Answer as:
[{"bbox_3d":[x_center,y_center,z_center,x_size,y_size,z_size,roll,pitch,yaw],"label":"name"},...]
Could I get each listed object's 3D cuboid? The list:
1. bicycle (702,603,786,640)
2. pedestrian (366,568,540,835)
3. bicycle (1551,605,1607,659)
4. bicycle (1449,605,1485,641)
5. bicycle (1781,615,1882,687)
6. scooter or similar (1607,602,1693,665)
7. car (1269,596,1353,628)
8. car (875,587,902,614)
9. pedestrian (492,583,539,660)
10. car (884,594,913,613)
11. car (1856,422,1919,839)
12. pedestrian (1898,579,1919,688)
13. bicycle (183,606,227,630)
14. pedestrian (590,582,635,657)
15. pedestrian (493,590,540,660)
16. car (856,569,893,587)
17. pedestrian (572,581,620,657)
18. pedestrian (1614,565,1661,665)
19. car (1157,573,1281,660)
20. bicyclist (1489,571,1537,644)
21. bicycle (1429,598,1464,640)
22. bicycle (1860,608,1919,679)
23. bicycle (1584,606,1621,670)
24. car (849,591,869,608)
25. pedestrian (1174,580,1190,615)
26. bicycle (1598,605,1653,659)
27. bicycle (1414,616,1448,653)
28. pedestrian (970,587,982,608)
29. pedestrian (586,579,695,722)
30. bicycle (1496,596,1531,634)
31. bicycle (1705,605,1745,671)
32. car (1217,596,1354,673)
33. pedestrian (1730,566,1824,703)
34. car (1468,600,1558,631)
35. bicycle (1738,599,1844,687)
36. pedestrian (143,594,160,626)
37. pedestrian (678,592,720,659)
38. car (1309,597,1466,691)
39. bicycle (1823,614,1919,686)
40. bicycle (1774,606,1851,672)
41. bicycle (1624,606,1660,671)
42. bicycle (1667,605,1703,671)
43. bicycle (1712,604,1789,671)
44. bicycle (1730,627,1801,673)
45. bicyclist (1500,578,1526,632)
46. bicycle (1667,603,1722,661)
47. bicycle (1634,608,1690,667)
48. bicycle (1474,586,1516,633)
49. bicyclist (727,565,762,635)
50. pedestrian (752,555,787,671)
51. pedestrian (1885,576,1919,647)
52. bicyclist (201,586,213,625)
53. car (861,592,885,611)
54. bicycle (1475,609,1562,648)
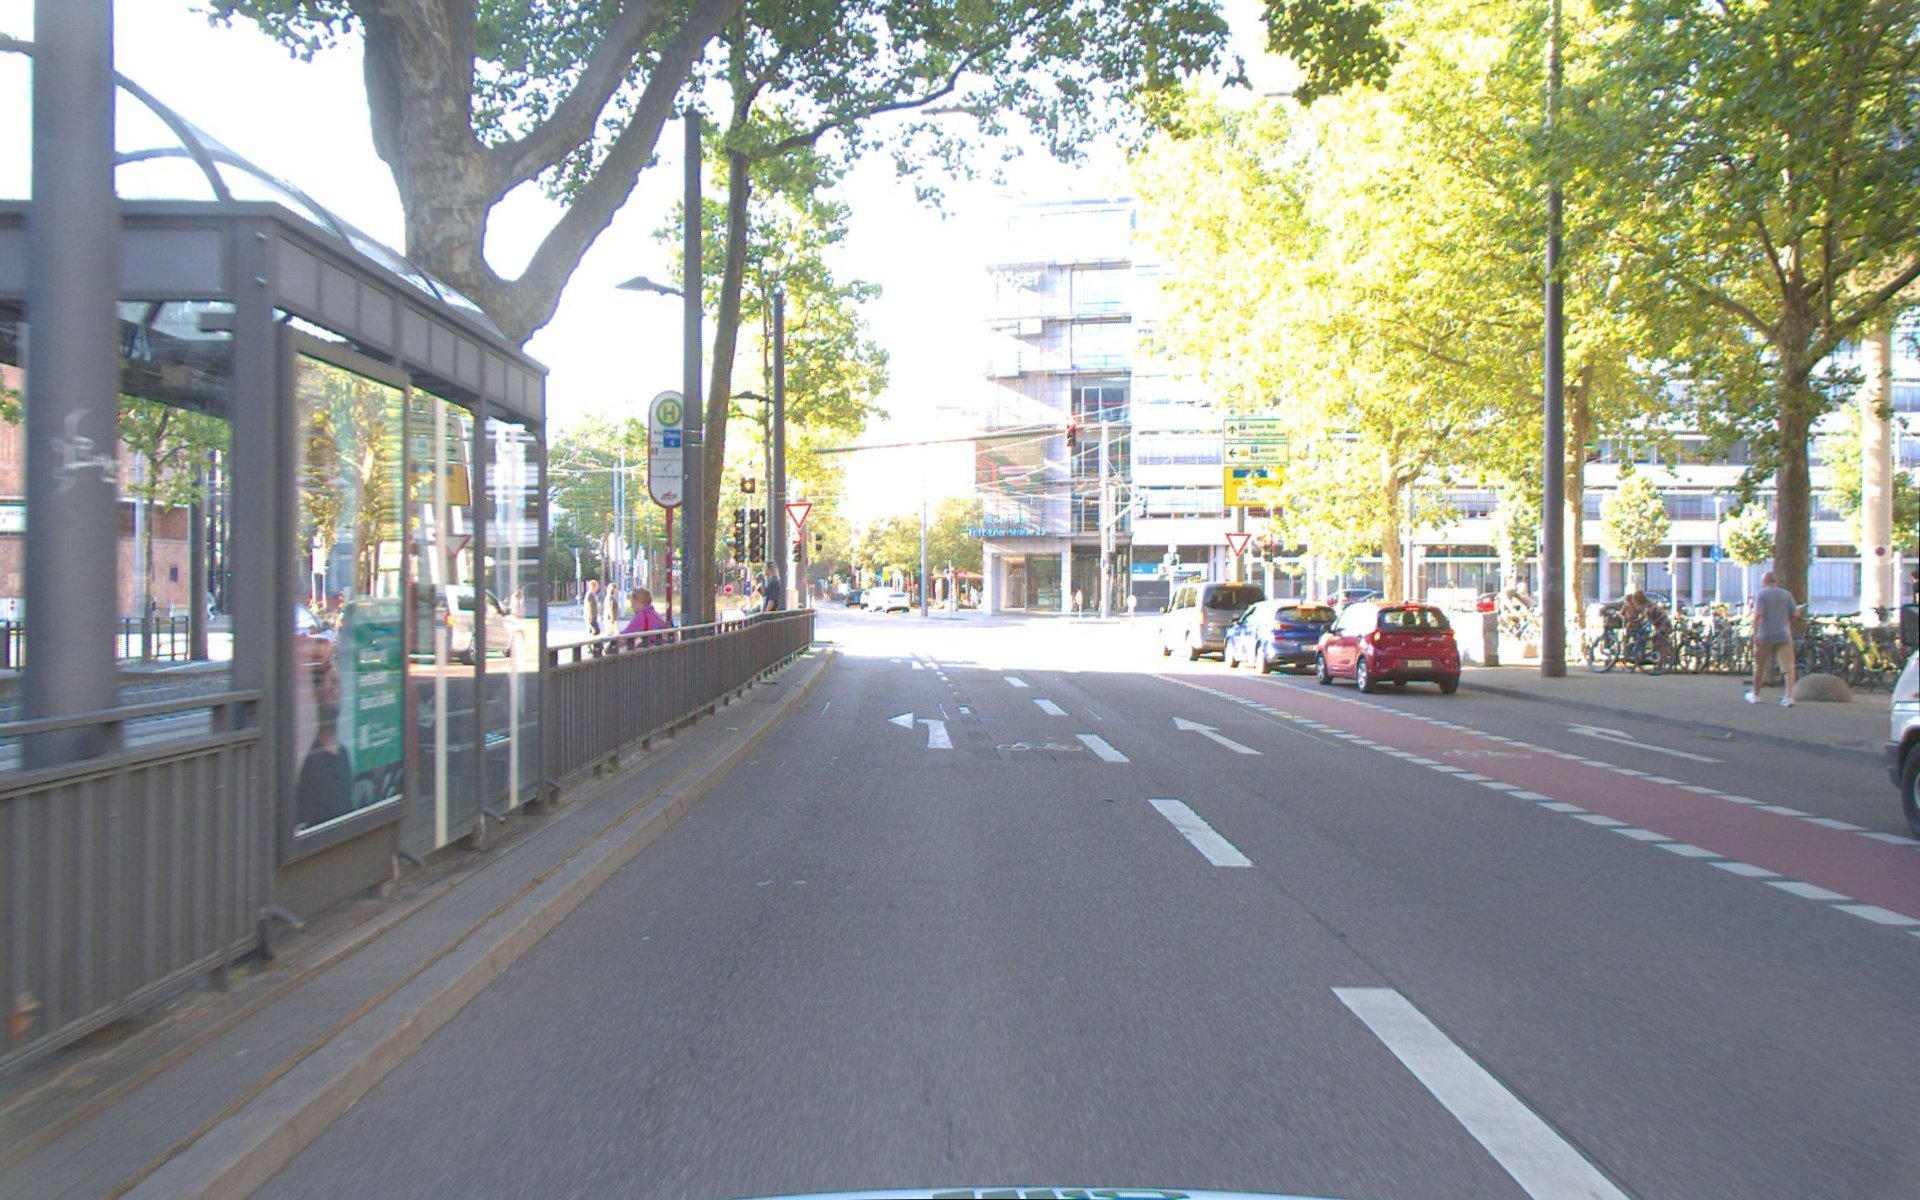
[{"bbox_3d":[-5.629,0.558,43.139,2.134,0.950,0.667,0,0,-4],"label":"bicycle"},{"bbox_3d":[-2.788,0.544,9.155,0.719,1.412,0.640,1,-1,1],"label":"pedestrian"},{"bbox_3d":[12.827,0.652,34.334,0.614,1.075,1.572,0,0,2],"label":"bicycle"},{"bbox_3d":[14.456,0.652,47.183,0.441,1.000,1.475,0,0,-5],"label":"bicycle"},{"bbox_3d":[13.386,0.761,25.441,0.584,1.050,1.653,0,0,-4],"label":"bicycle"},{"bbox_3d":[13.364,0.655,32.059,1.233,1.162,0.912,3,-3,-18],"label":"scooter or similar"},{"bbox_3d":[18.642,0.631,87.989,4.152,1.630,1.796,0,0,2],"label":"car"},{"bbox_3d":[-5.602,0.048,128.804,1.954,2.026,3.997,0,0,-4],"label":"car"},{"bbox_3d":[-11.237,0.541,41.847,1.054,1.904,0.737,1,-1,-11],"label":"pedestrian"},{"bbox_3d":[-4.541,0.230,121.967,1.954,1.355,3.997,0,0,-4],"label":"car"},{"bbox_3d":[7.218,0.224,8.507,1.952,2.772,6.564,1,0,3],"label":"car"},{"bbox_3d":[16.244,0.548,27.550,0.800,1.788,0.771,0,0,1],"label":"pedestrian"},{"bbox_3d":[-40.181,0.954,88.057,2.069,1.261,0.448,-1,0,-32],"label":"bicycle"},{"bbox_3d":[-8.731,0.492,41.556,1.052,1.837,0.756,1,-1,-11],"label":"pedestrian"},{"bbox_3d":[-11.026,0.621,41.123,1.053,1.711,0.756,1,-1,-11],"label":"pedestrian"},{"bbox_3d":[-9.280,-2.351,179.140,3.681,1.780,1.783,1,-1,10],"label":"car"},{"bbox_3d":[-9.314,0.484,42.364,1.125,1.927,0.831,1,-1,-11],"label":"pedestrian"},{"bbox_3d":[12.485,0.279,30.496,0.789,1.817,0.657,0,0,22],"label":"pedestrian"},{"bbox_3d":[6.410,0.381,41.482,1.954,2.000,5.133,1,0,-4],"label":"car"},{"bbox_3d":[13.872,0.189,41.499,0.743,1.798,0.843,-1,0,-32],"label":"bicyclist"},{"bbox_3d":[13.809,0.542,46.989,0.441,1.164,1.475,0,0,-5],"label":"bicycle"},{"bbox_3d":[14.665,0.665,25.583,0.492,1.050,1.653,0,0,-4],"label":"bicycle"},{"bbox_3d":[12.044,0.691,30.993,0.583,1.135,1.825,-1,0,23],"label":"bicycle"},{"bbox_3d":[-10.132,-0.034,165.463,1.954,1.691,3.997,0,0,-4],"label":"car"},{"bbox_3d":[11.106,-0.133,82.761,0.705,1.711,0.557,1,0,3],"label":"pedestrian"},{"bbox_3d":[13.832,0.652,34.409,0.412,1.100,1.475,0,0,-5],"label":"bicycle"},{"bbox_3d":[13.305,0.974,46.758,0.412,0.996,1.475,0,0,-5],"label":"bicycle"},{"bbox_3d":[1.136,-0.157,117.809,0.725,1.491,0.536,-1,0,-6],"label":"pedestrian"},{"bbox_3d":[-3.295,0.516,17.120,0.956,1.424,0.664,1,-1,1],"label":"pedestrian"},{"bbox_3d":[17.075,0.457,51.061,0.554,1.146,1.779,0,0,2],"label":"bicycle"},{"bbox_3d":[13.756,0.669,29.756,0.594,1.135,1.825,-1,0,23],"label":"bicycle"},{"bbox_3d":[6.780,0.677,34.882,1.730,1.490,4.213,-1,0,-5],"label":"car"},{"bbox_3d":[11.052,0.452,22.396,0.854,1.817,0.808,0,0,-3],"label":"pedestrian"},{"bbox_3d":[29.105,0.803,87.055,4.153,1.587,1.796,0,0,2],"label":"car"},{"bbox_3d":[12.732,0.630,25.402,0.584,1.286,1.875,0,0,-4],"label":"bicycle"},{"bbox_3d":[-41.185,0.517,84.230,0.532,1.641,0.570,0,0,27],"label":"pedestrian"},{"bbox_3d":[-6.938,0.680,44.024,1.053,1.745,0.627,1,-1,-8],"label":"pedestrian"},{"bbox_3d":[7.268,0.705,28.452,1.528,1.490,3.618,1,0,-4],"label":"car"},{"bbox_3d":[14.066,0.753,25.490,0.584,1.050,1.653,0,0,-4],"label":"bicycle"},{"bbox_3d":[15.677,0.706,30.439,0.413,1.180,1.472,0,0,-12],"label":"bicycle"},{"bbox_3d":[12.522,0.683,30.340,0.583,1.135,1.948,-1,0,23],"label":"bicycle"},{"bbox_3d":[13.149,0.678,30.022,0.583,1.135,1.825,-1,0,23],"label":"bicycle"},{"bbox_3d":[14.520,0.676,30.421,0.470,1.180,1.472,0,0,-12],"label":"bicycle"},{"bbox_3d":[13.970,0.863,28.717,1.086,0.774,0.399,0,0,24],"label":"bicycle"},{"bbox_3d":[17.069,0.155,51.060,0.550,1.644,0.822,0,0,2],"label":"bicyclist"},{"bbox_3d":[15.363,0.659,34.630,0.412,1.180,1.476,0,0,-3],"label":"bicycle"},{"bbox_3d":[14.643,0.773,34.527,0.412,1.180,1.475,0,0,-5],"label":"bicycle"},{"bbox_3d":[15.228,0.260,47.111,0.441,1.309,1.885,0,0,-5],"label":"bicycle"},{"bbox_3d":[-5.612,0.003,43.142,0.833,1.816,0.752,-1,0,-4],"label":"bicyclist"},{"bbox_3d":[-3.245,0.222,28.181,0.499,1.933,0.759,1,-1,-3],"label":"pedestrian"},{"bbox_3d":[25.361,0.304,44.150,0.837,1.852,0.858,1,0,-32],"label":"pedestrian"},{"bbox_3d":[-40.101,0.293,88.108,0.555,2.096,0.446,0,0,-31],"label":"bicyclist"},{"bbox_3d":[-7.574,0.119,144.012,1.954,1.691,3.997,0,0,-4],"label":"car"},{"bbox_3d":[13.942,0.697,41.364,0.659,0.950,2.160,0,0,-32],"label":"bicycle"}]
